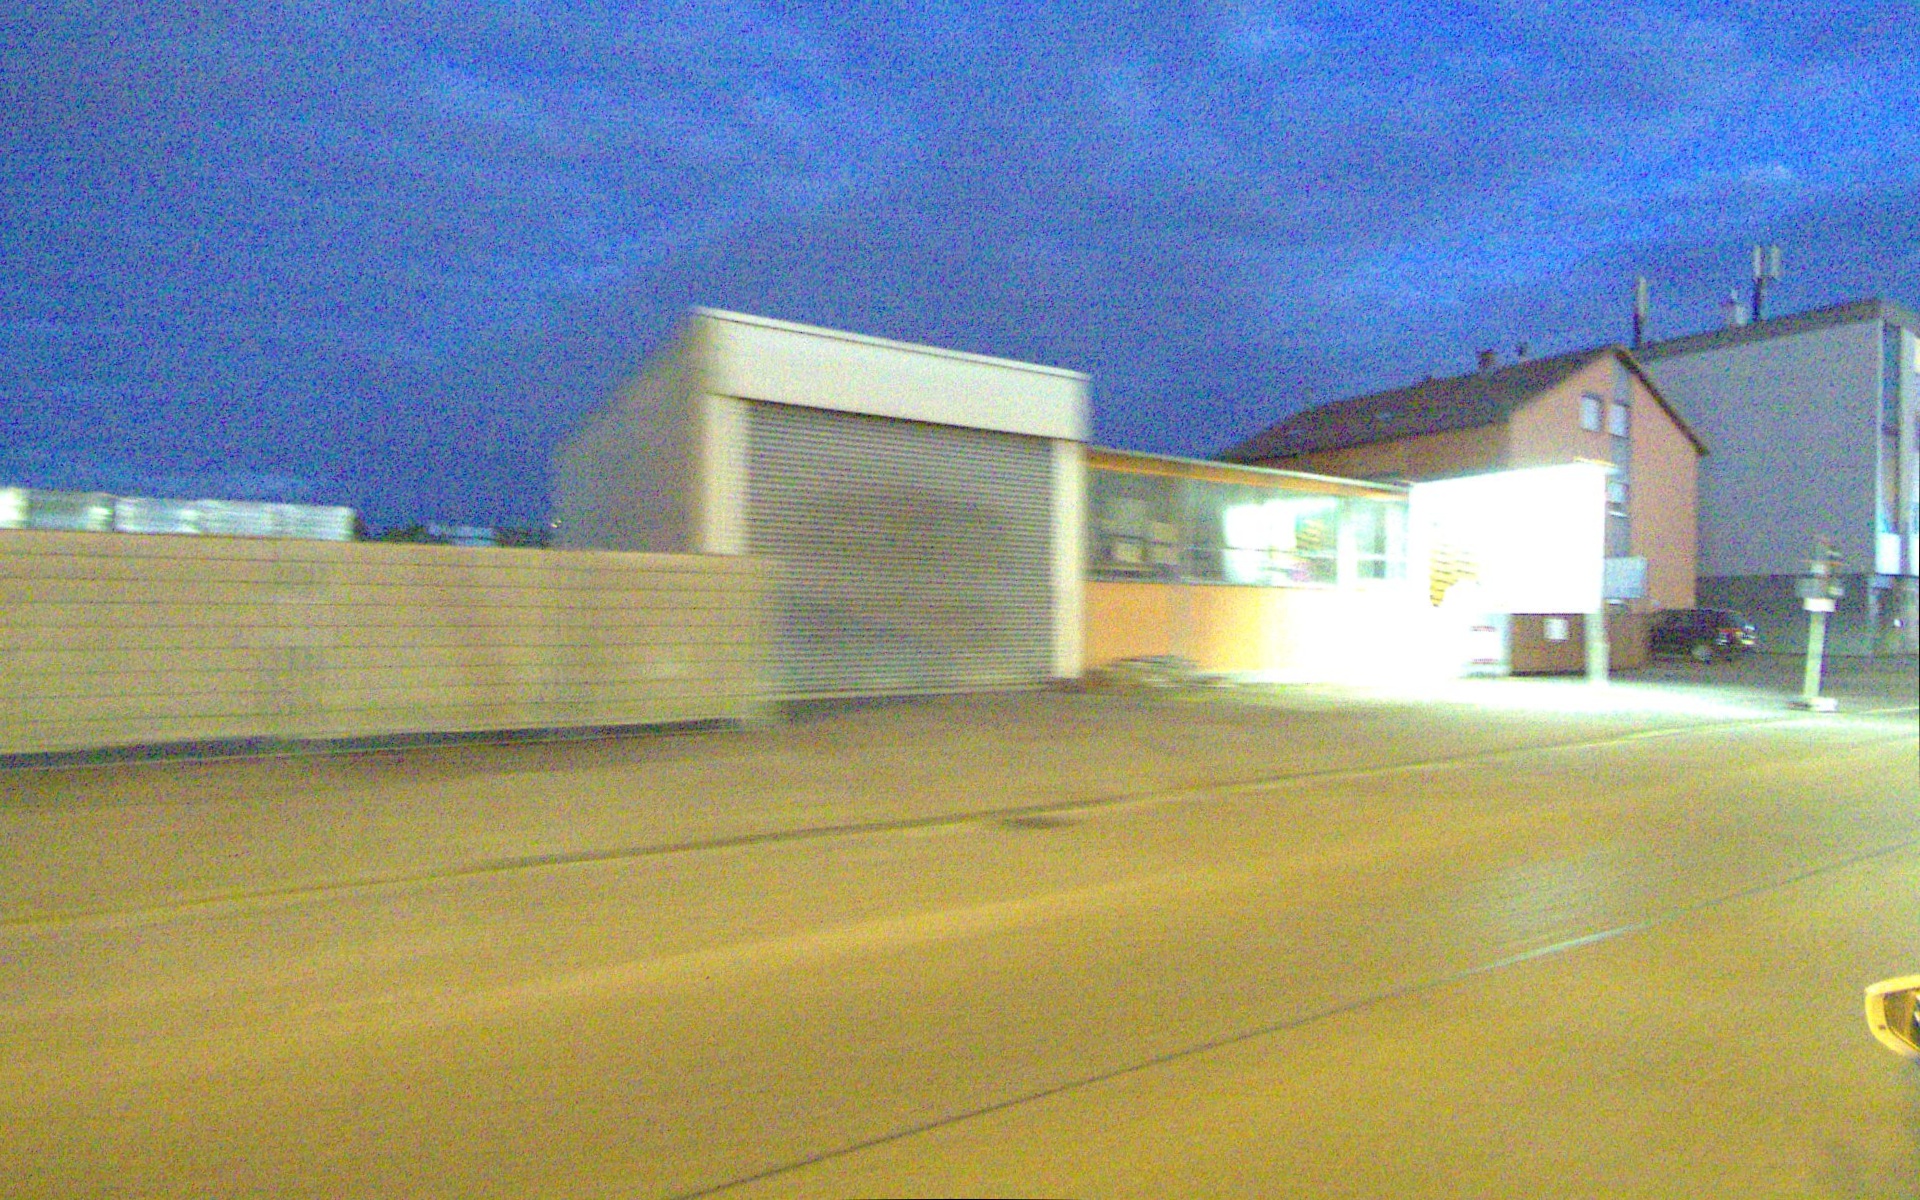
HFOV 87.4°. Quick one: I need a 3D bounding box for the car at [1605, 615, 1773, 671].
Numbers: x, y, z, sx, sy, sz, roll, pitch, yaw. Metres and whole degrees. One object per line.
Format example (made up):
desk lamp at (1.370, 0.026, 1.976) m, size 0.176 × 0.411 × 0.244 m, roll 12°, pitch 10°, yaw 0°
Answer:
car at (23.391, 1.333, 32.379) m, size 1.978 × 1.673 × 3.965 m, roll 1°, pitch -1°, yaw -32°
